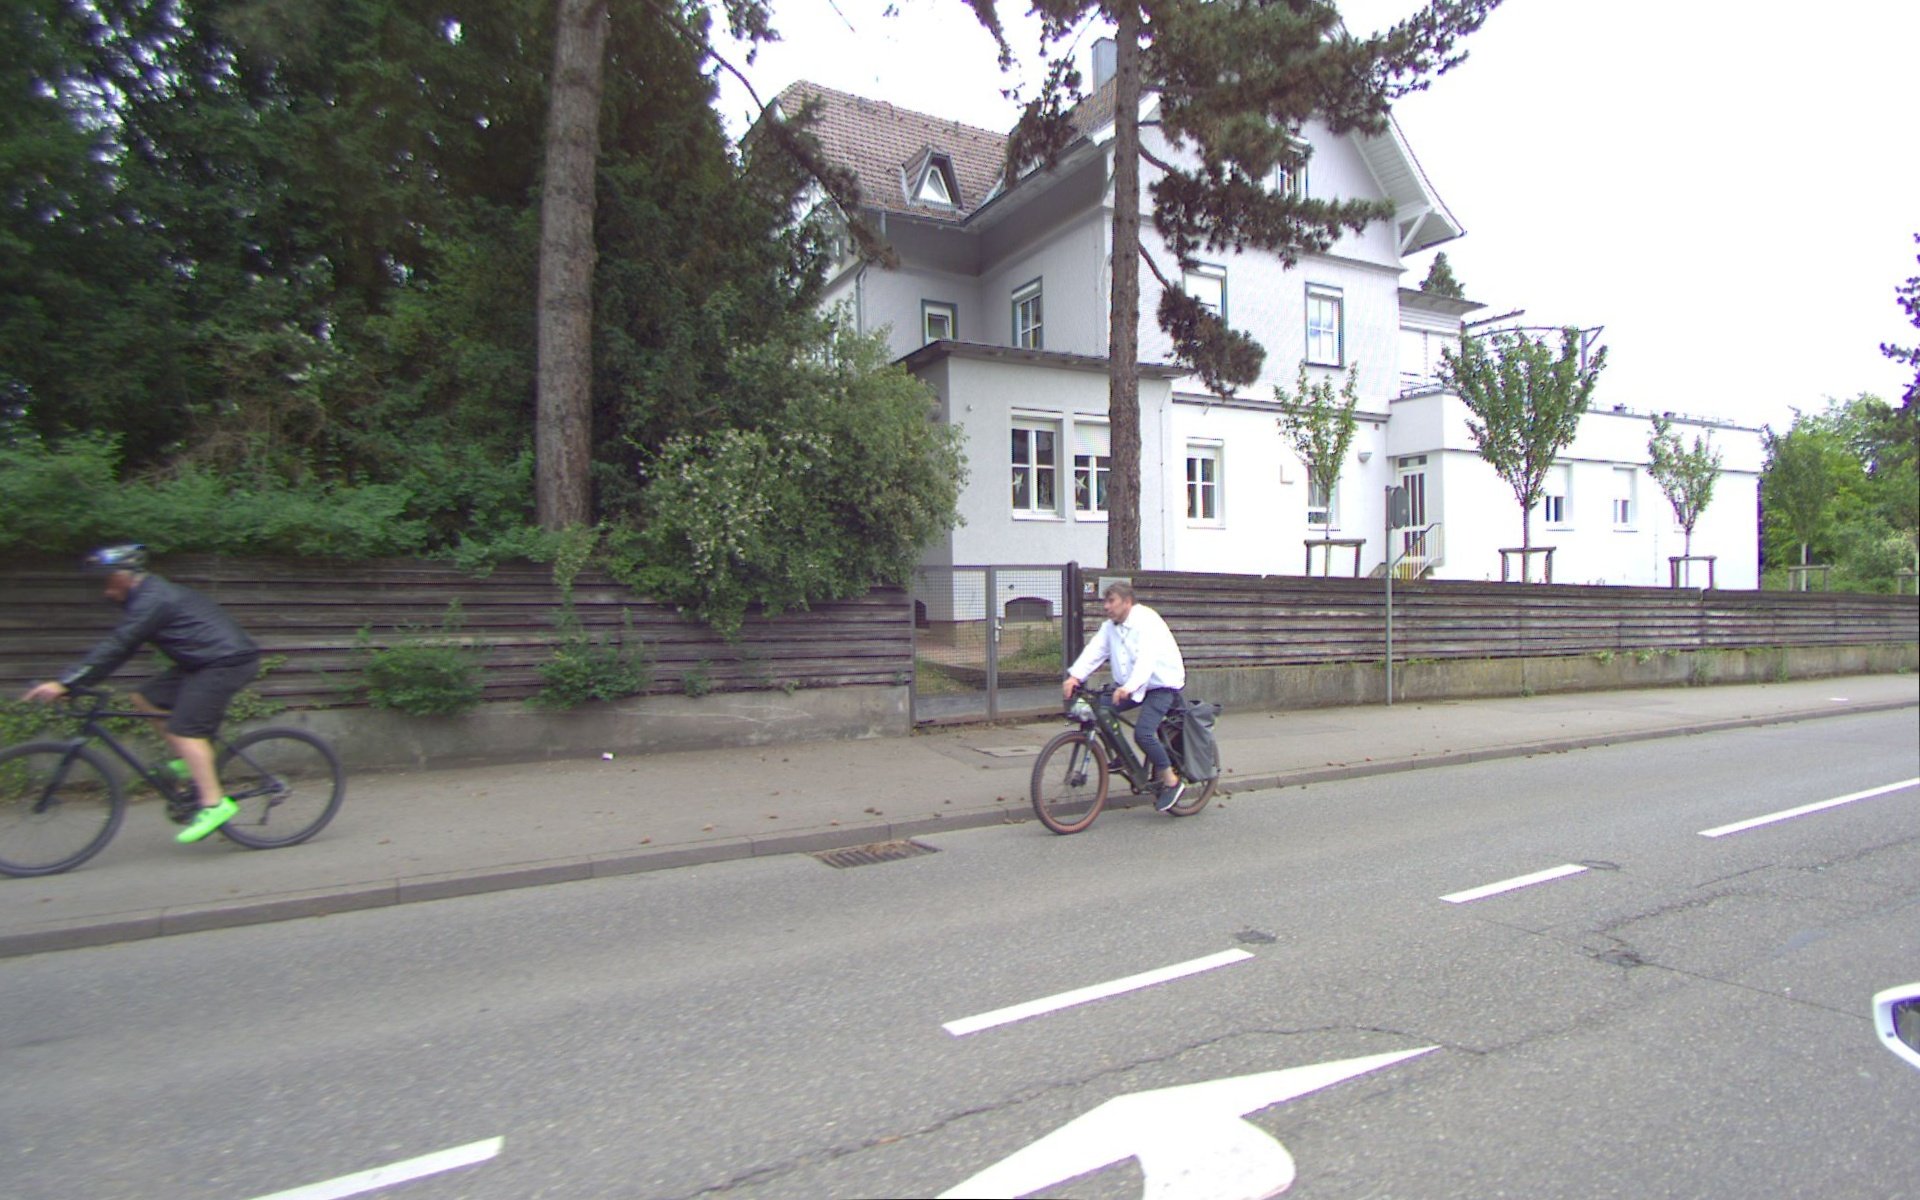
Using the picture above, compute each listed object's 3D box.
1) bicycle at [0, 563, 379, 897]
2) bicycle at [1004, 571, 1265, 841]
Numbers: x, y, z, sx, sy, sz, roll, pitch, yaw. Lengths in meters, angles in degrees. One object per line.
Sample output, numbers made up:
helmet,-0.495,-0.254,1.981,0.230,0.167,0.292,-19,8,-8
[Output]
bicycle,-4.425,0.665,5.690,1.958,1.699,0.559,0,1,-31
bicycle,1.304,0.710,7.399,1.850,1.767,0.755,0,-1,-31
